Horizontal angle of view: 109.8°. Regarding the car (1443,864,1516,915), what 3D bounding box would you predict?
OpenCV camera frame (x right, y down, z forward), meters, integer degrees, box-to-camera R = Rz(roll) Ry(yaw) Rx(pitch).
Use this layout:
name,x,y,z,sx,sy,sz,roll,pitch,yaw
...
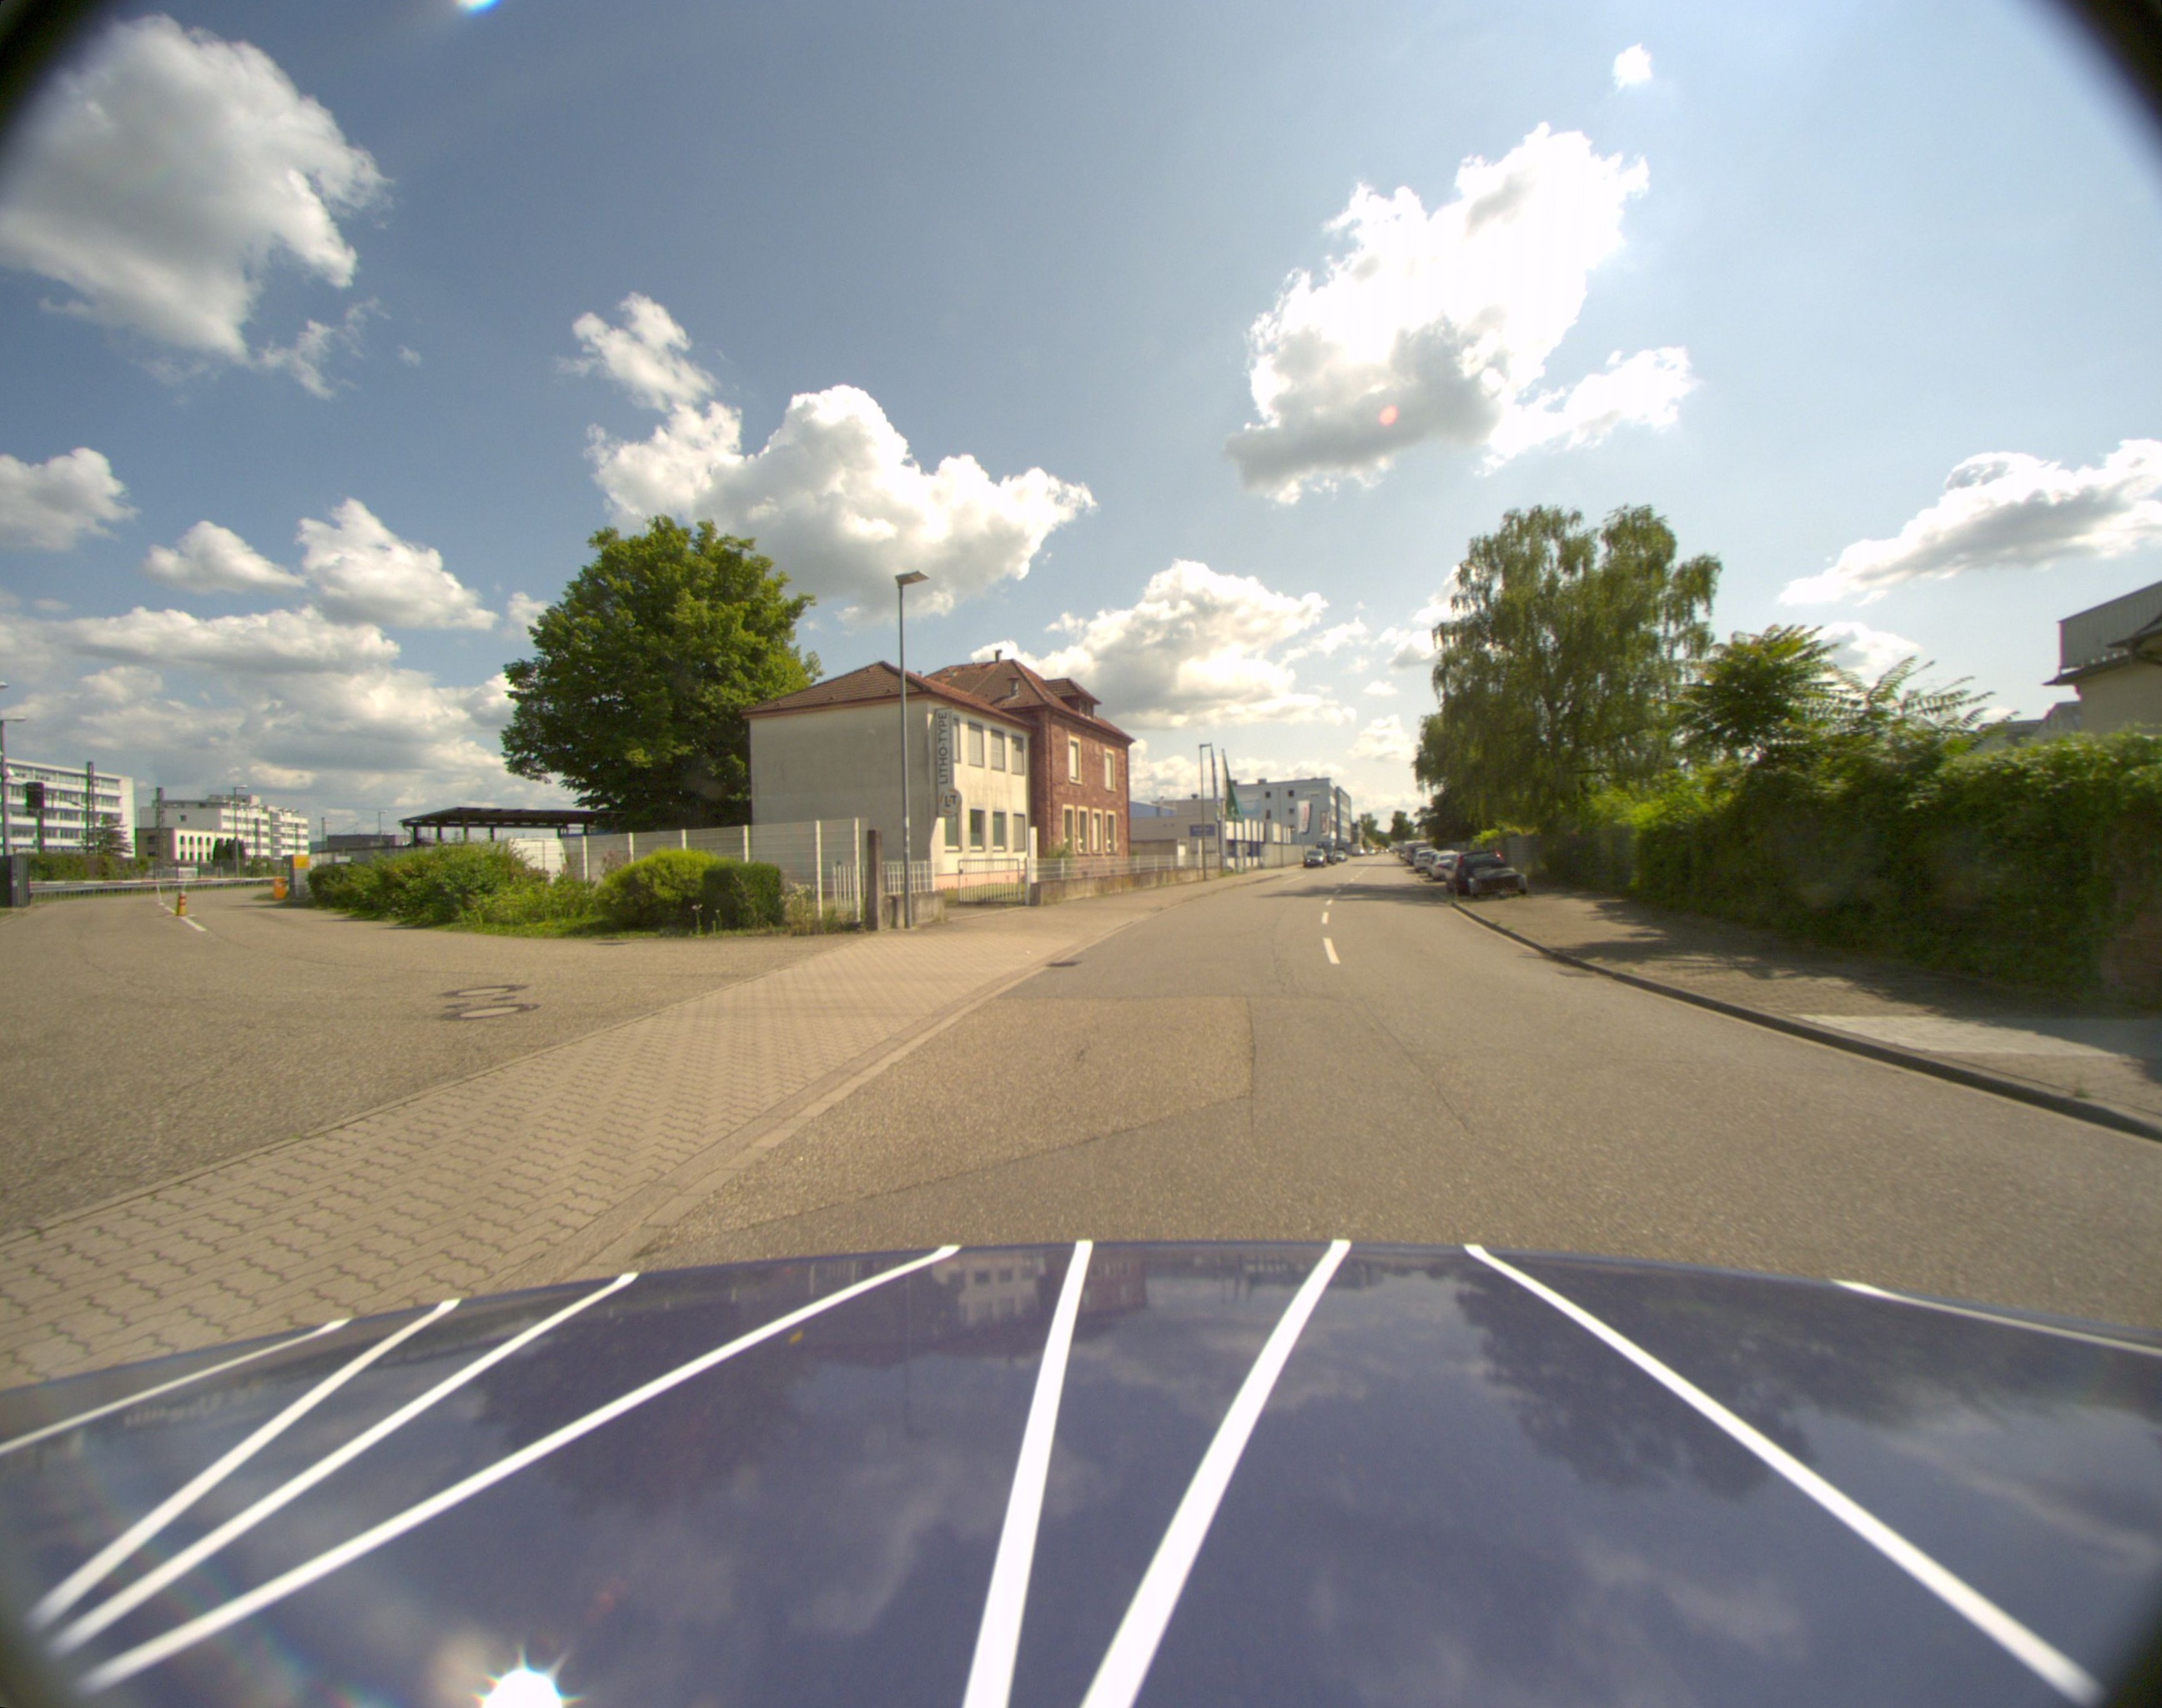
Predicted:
name,x,y,z,sx,sy,sz,roll,pitch,yaw
car,13.895,1.191,26.690,1.684,1.503,4.164,-5,-1,21

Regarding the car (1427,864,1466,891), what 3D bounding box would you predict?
name,x,y,z,sx,sy,sz,roll,pitch,yaw
car,21.857,1.360,45.534,1.796,1.518,4.667,-1,0,22

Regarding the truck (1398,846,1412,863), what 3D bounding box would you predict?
name,x,y,z,sx,sy,sz,roll,pitch,yaw
truck,69.639,0.157,163.238,2.253,3.340,6.918,-6,-3,22

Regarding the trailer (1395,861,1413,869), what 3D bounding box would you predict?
name,x,y,z,sx,sy,sz,roll,pitch,yaw
trailer,48.276,1.618,113.450,2.274,0.877,7.144,-6,-2,23

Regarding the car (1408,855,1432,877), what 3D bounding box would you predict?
name,x,y,z,sx,sy,sz,roll,pitch,yaw
car,35.016,1.216,78.545,1.901,1.942,4.966,-7,-2,22

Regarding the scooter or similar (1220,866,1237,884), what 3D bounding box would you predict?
name,x,y,z,sx,sy,sz,roll,pitch,yaw
scooter or similar,10.101,1.429,51.931,1.146,1.238,0.259,0,0,40

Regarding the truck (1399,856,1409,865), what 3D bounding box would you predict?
name,x,y,z,sx,sy,sz,roll,pitch,yaw
truck,86.962,1.783,204.660,2.130,2.225,7.362,-4,-2,25

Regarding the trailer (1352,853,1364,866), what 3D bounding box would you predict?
name,x,y,z,sx,sy,sz,roll,pitch,yaw
trailer,56.536,1.193,155.083,1.870,2.538,5.081,-1,0,25

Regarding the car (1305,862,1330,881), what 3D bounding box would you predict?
name,x,y,z,sx,sy,sz,roll,pitch,yaw
car,21.646,1.553,69.427,1.826,1.654,4.563,0,0,23

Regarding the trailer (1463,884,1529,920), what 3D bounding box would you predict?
name,x,y,z,sx,sy,sz,roll,pitch,yaw
trailer,12.684,1.455,23.335,1.466,0.845,2.471,-6,-2,23

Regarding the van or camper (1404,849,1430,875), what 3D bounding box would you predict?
name,x,y,z,sx,sy,sz,roll,pitch,yaw
van or camper,40.047,0.913,90.770,2.265,2.786,6.844,-5,-2,21

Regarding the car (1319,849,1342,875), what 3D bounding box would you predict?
name,x,y,z,sx,sy,sz,roll,pitch,yaw
car,26.766,0.866,81.374,1.939,2.732,6.165,0,0,22

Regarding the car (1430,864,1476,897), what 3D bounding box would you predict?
name,x,y,z,sx,sy,sz,roll,pitch,yaw
car,19.548,1.373,40.093,1.726,1.468,4.639,-5,-2,21

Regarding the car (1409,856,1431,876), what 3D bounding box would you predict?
name,x,y,z,sx,sy,sz,roll,pitch,yaw
car,32.403,1.154,72.570,1.702,1.791,3.833,-5,-2,24

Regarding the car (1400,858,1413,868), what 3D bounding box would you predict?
name,x,y,z,sx,sy,sz,roll,pitch,yaw
car,51.868,1.463,121.158,1.579,1.503,4.208,-2,-1,20

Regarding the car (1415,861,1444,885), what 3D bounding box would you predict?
name,x,y,z,sx,sy,sz,roll,pitch,yaw
car,24.312,1.301,53.111,1.701,1.585,4.795,-1,0,23

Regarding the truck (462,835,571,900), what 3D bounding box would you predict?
name,x,y,z,sx,sy,sz,roll,pitch,yaw
truck,-22.751,0.523,30.591,4.730,2.410,2.004,0,0,33

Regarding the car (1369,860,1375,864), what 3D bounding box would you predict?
name,x,y,z,sx,sy,sz,roll,pitch,yaw
car,89.005,2.421,232.250,1.654,1.324,4.007,-1,-1,22
